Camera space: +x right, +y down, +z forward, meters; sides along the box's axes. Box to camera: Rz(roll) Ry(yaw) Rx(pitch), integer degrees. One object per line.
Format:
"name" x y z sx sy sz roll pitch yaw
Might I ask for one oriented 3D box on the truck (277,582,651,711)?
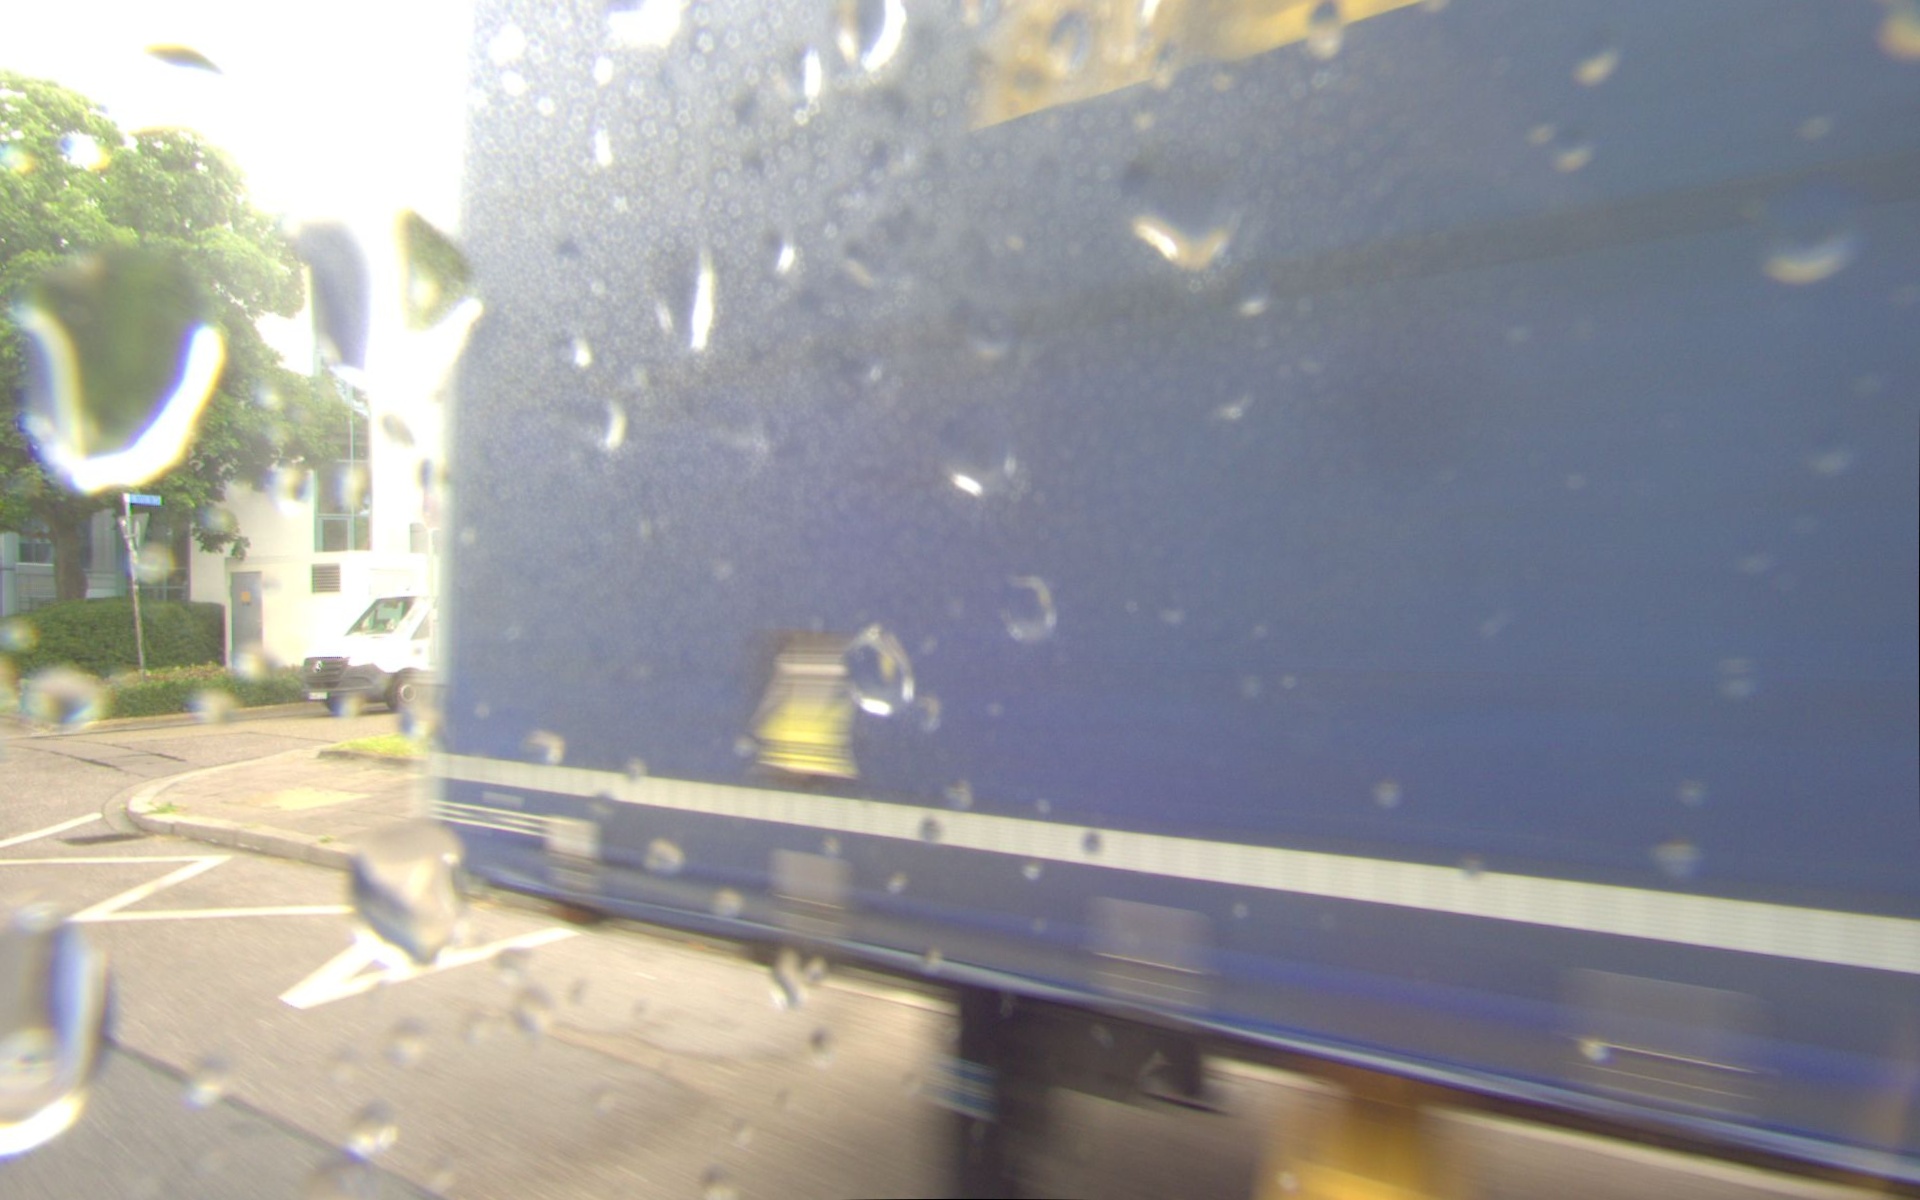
"truck" -9.565 0.832 20.272 2.062 2.168 6.919 0 -1 28

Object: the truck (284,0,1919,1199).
"truck" 2.582 -0.175 1.451 7.633 3.656 2.740 -1 -3 30

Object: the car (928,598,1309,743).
"car" 1.841 0.763 11.609 4.084 1.434 1.684 2 1 -23
